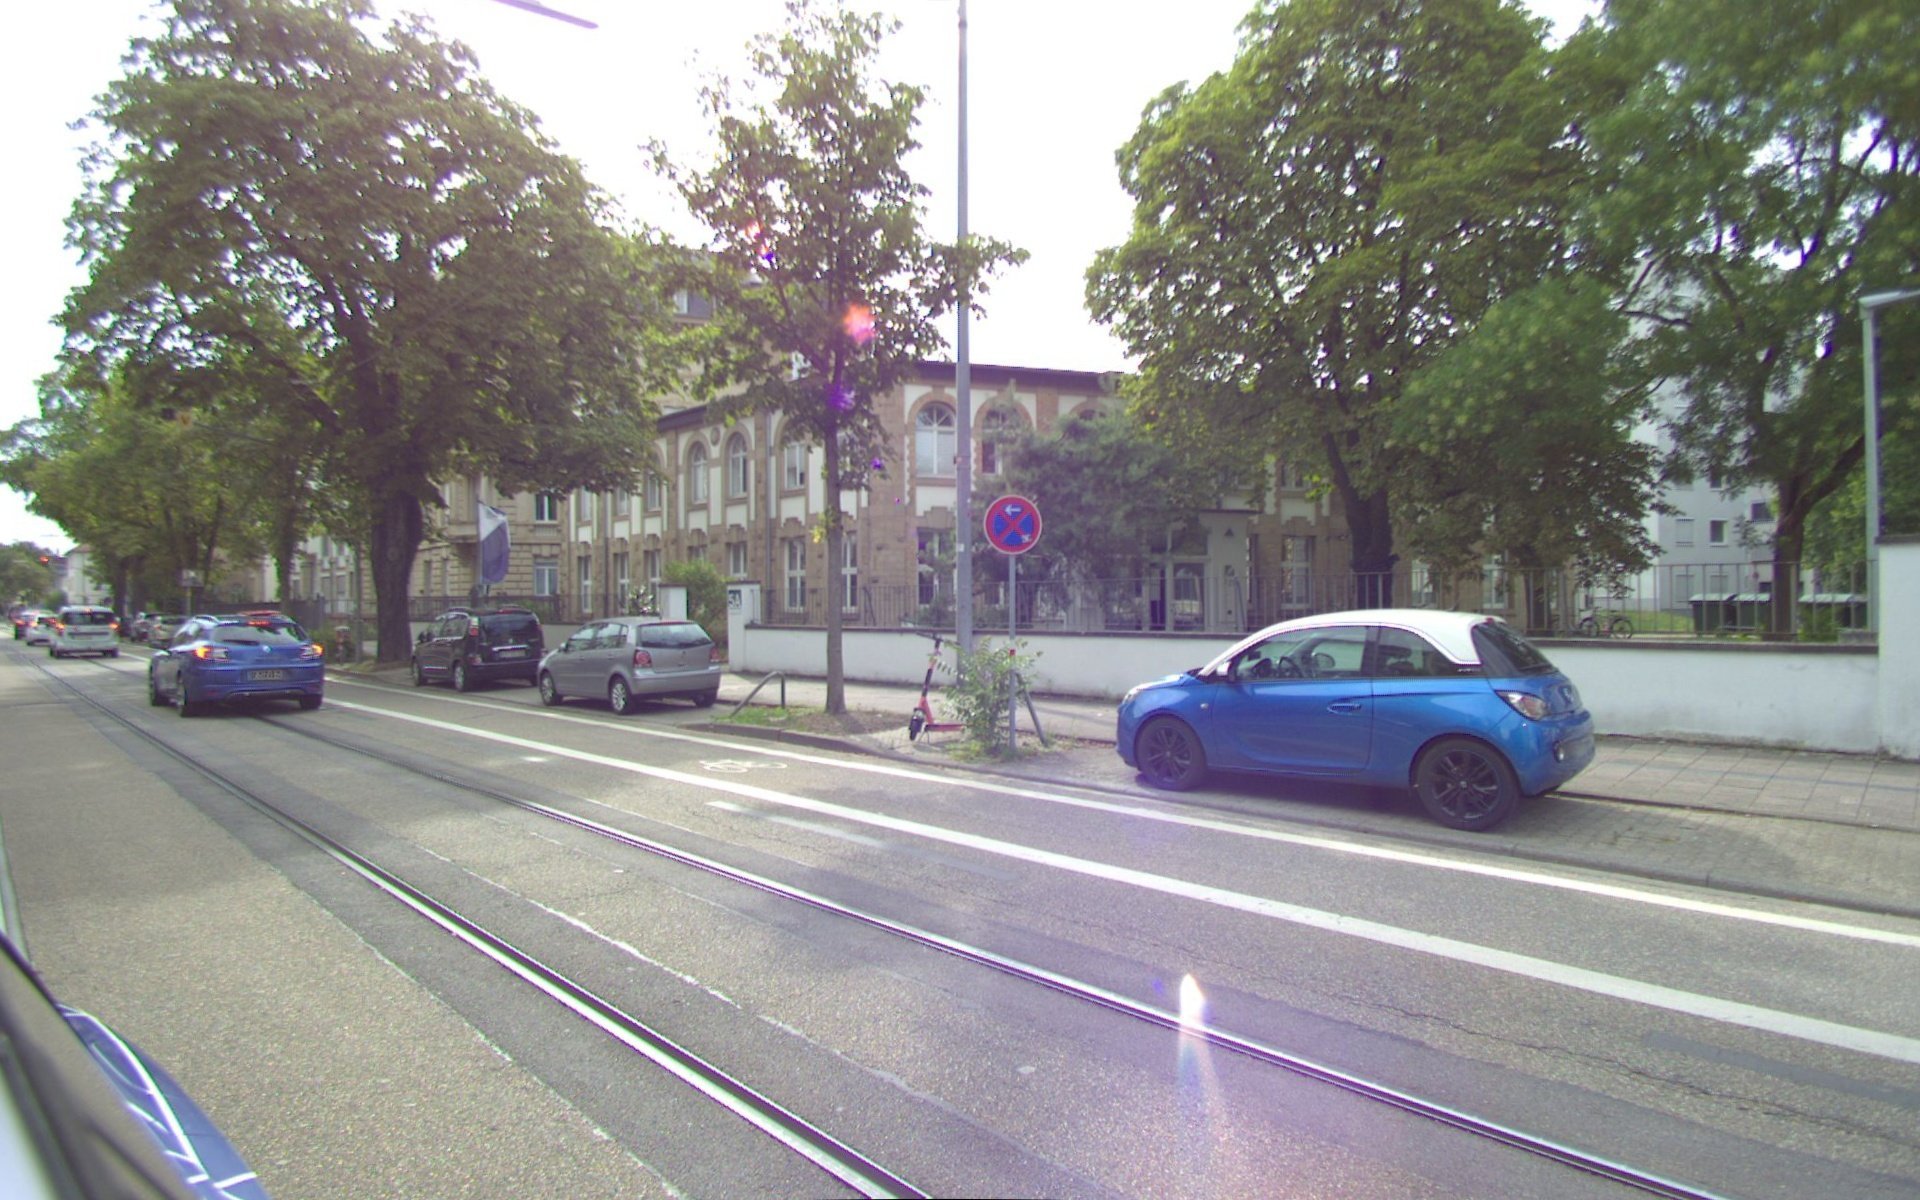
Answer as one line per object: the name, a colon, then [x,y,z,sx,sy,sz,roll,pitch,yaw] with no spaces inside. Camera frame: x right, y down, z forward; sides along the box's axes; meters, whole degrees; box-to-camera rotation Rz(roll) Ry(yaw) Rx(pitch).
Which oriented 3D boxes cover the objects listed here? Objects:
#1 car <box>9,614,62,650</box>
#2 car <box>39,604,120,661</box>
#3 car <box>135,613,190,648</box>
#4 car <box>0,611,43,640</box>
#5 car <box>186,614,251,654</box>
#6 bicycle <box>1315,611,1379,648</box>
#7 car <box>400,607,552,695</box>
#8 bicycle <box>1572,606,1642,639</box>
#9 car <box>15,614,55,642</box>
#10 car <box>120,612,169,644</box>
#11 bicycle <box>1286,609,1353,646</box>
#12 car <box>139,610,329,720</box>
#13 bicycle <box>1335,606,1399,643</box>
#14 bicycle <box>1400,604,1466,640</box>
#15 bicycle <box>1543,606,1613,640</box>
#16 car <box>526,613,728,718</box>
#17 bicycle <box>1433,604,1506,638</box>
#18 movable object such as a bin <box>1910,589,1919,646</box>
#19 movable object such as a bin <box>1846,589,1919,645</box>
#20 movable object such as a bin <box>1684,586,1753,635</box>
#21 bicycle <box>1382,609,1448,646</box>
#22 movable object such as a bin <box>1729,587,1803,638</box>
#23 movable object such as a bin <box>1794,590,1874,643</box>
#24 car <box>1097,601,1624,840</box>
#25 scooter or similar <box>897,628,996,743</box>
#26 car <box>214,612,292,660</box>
car: [-44.292,1.490,48.468,1.712,1.624,4.337,1,-1,-45]
car: [-31.159,1.119,35.784,4.378,1.898,1.713,-1,-1,43]
car: [-39.907,1.504,50.598,3.907,1.646,1.636,-1,-1,44]
car: [-56.702,1.513,61.012,4.335,1.624,1.827,-1,-1,44]
car: [-31.993,1.421,43.625,3.907,1.613,1.636,-1,-1,44]
bicycle: [11.476,0.856,30.087,0.584,1.051,1.984,-1,0,-20]
car: [-10.072,0.991,20.946,3.726,1.646,1.636,-1,-1,44]
bicycle: [21.304,0.716,33.364,0.584,1.051,1.984,-1,0,-20]
car: [-64.109,1.930,70.096,4.679,1.837,1.775,-1,0,44]
car: [-45.016,1.529,55.844,3.907,1.646,1.636,-1,-1,44]
bicycle: [10.586,0.795,29.893,0.584,1.051,1.984,-1,0,-28]
car: [-11.593,0.937,16.047,4.379,1.508,1.713,-1,-1,44]
bicycle: [12.185,0.716,30.385,0.584,1.051,1.984,-1,0,-20]
bicycle: [14.517,0.662,31.102,0.584,1.051,1.984,-1,0,-20]
bicycle: [20.061,0.726,32.872,0.584,1.051,1.984,-1,0,-20]
car: [-5.418,0.969,16.273,3.575,1.476,1.610,-1,-1,44]
bicycle: [16.083,0.649,31.990,0.586,1.051,1.979,-1,0,-43]
movable object such as a bin: [24.826,0.436,25.216,1.103,1.441,1.288,0,0,-18]
movable object such as a bin: [24.546,0.444,26.752,1.103,1.441,1.288,0,0,-18]
movable object such as a bin: [23.140,0.318,30.900,1.103,1.441,1.288,0,0,-18]
bicycle: [13.808,0.815,30.798,0.584,1.051,1.984,-1,0,-20]
movable object such as a bin: [23.574,0.353,29.631,1.103,1.441,1.288,0,0,-18]
movable object such as a bin: [24.231,0.443,28.088,1.103,1.441,1.288,0,0,-18]
car: [3.050,0.775,8.148,3.603,1.476,1.610,-1,-1,44]
scooter or similar: [-0.150,0.937,11.309,0.988,1.176,0.370,-3,0,-22]
car: [-26.012,1.300,37.190,3.907,1.646,1.636,-1,-1,44]
